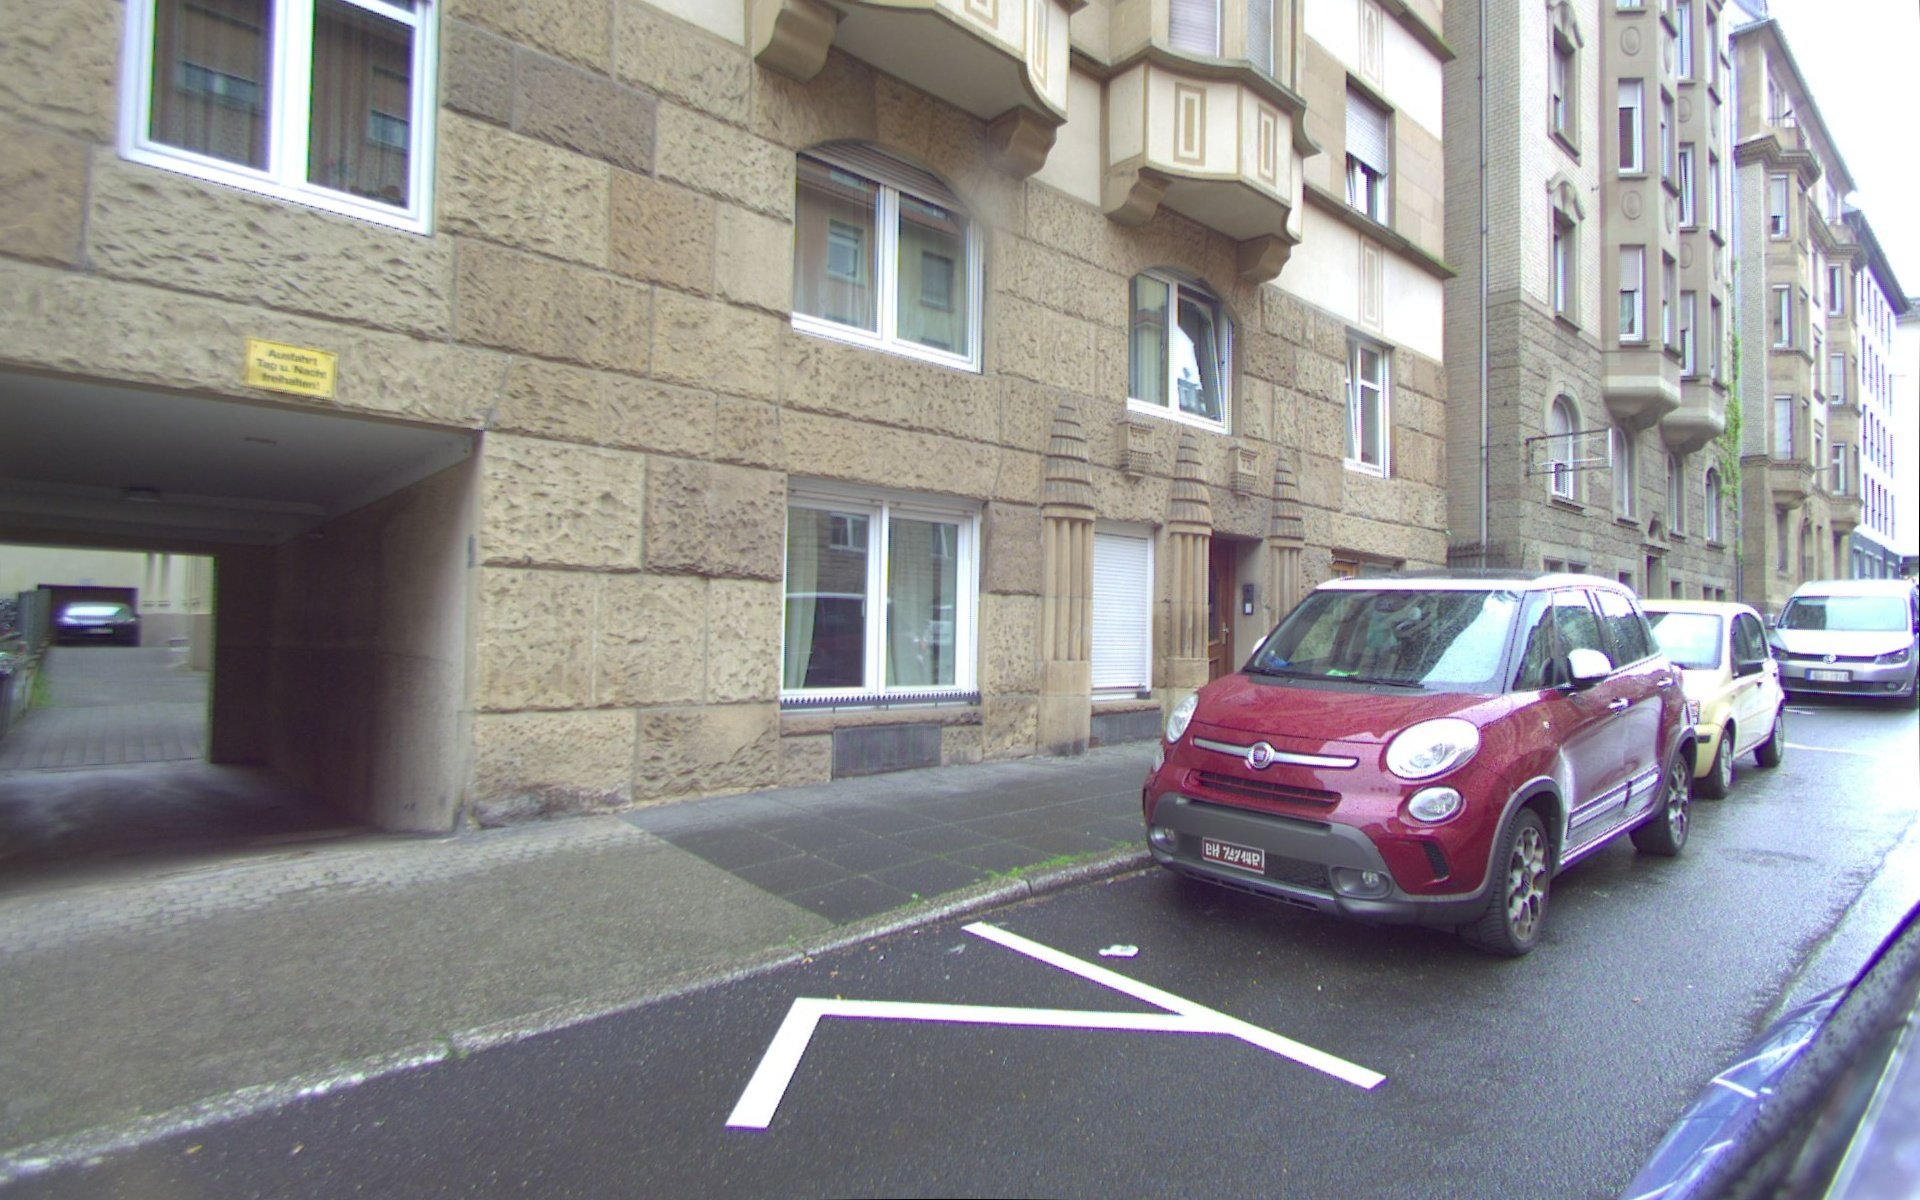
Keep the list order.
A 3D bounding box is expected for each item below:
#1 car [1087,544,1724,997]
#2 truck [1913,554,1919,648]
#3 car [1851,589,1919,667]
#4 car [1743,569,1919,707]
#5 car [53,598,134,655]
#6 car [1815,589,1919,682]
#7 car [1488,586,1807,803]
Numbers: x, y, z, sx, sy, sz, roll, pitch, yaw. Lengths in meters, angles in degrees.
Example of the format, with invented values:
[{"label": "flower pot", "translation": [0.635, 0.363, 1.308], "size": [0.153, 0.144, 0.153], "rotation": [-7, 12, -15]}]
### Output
[{"label": "car", "translation": [2.679, 0.613, 5.629], "size": [3.932, 1.619, 1.804], "rotation": [0, -1, -42]}, {"label": "truck", "translation": [29.165, 0.023, 28.876], "size": [6.036, 2.568, 2.234], "rotation": [0, -1, -41]}, {"label": "car", "translation": [20.479, 0.547, 21.438], "size": [3.860, 1.549, 1.889], "rotation": [0, -1, -41]}, {"label": "car", "translation": [13.765, 0.500, 15.507], "size": [4.380, 1.825, 1.966], "rotation": [0, -1, -41]}, {"label": "car", "translation": [-25.183, 0.734, 29.456], "size": [1.692, 1.541, 4.098], "rotation": [0, -1, -41]}, {"label": "car", "translation": [17.173, 0.600, 18.498], "size": [3.934, 1.549, 1.994], "rotation": [0, -1, -45]}, {"label": "car", "translation": [6.201, 0.676, 8.990], "size": [3.517, 1.549, 1.578], "rotation": [0, -1, -43]}]
